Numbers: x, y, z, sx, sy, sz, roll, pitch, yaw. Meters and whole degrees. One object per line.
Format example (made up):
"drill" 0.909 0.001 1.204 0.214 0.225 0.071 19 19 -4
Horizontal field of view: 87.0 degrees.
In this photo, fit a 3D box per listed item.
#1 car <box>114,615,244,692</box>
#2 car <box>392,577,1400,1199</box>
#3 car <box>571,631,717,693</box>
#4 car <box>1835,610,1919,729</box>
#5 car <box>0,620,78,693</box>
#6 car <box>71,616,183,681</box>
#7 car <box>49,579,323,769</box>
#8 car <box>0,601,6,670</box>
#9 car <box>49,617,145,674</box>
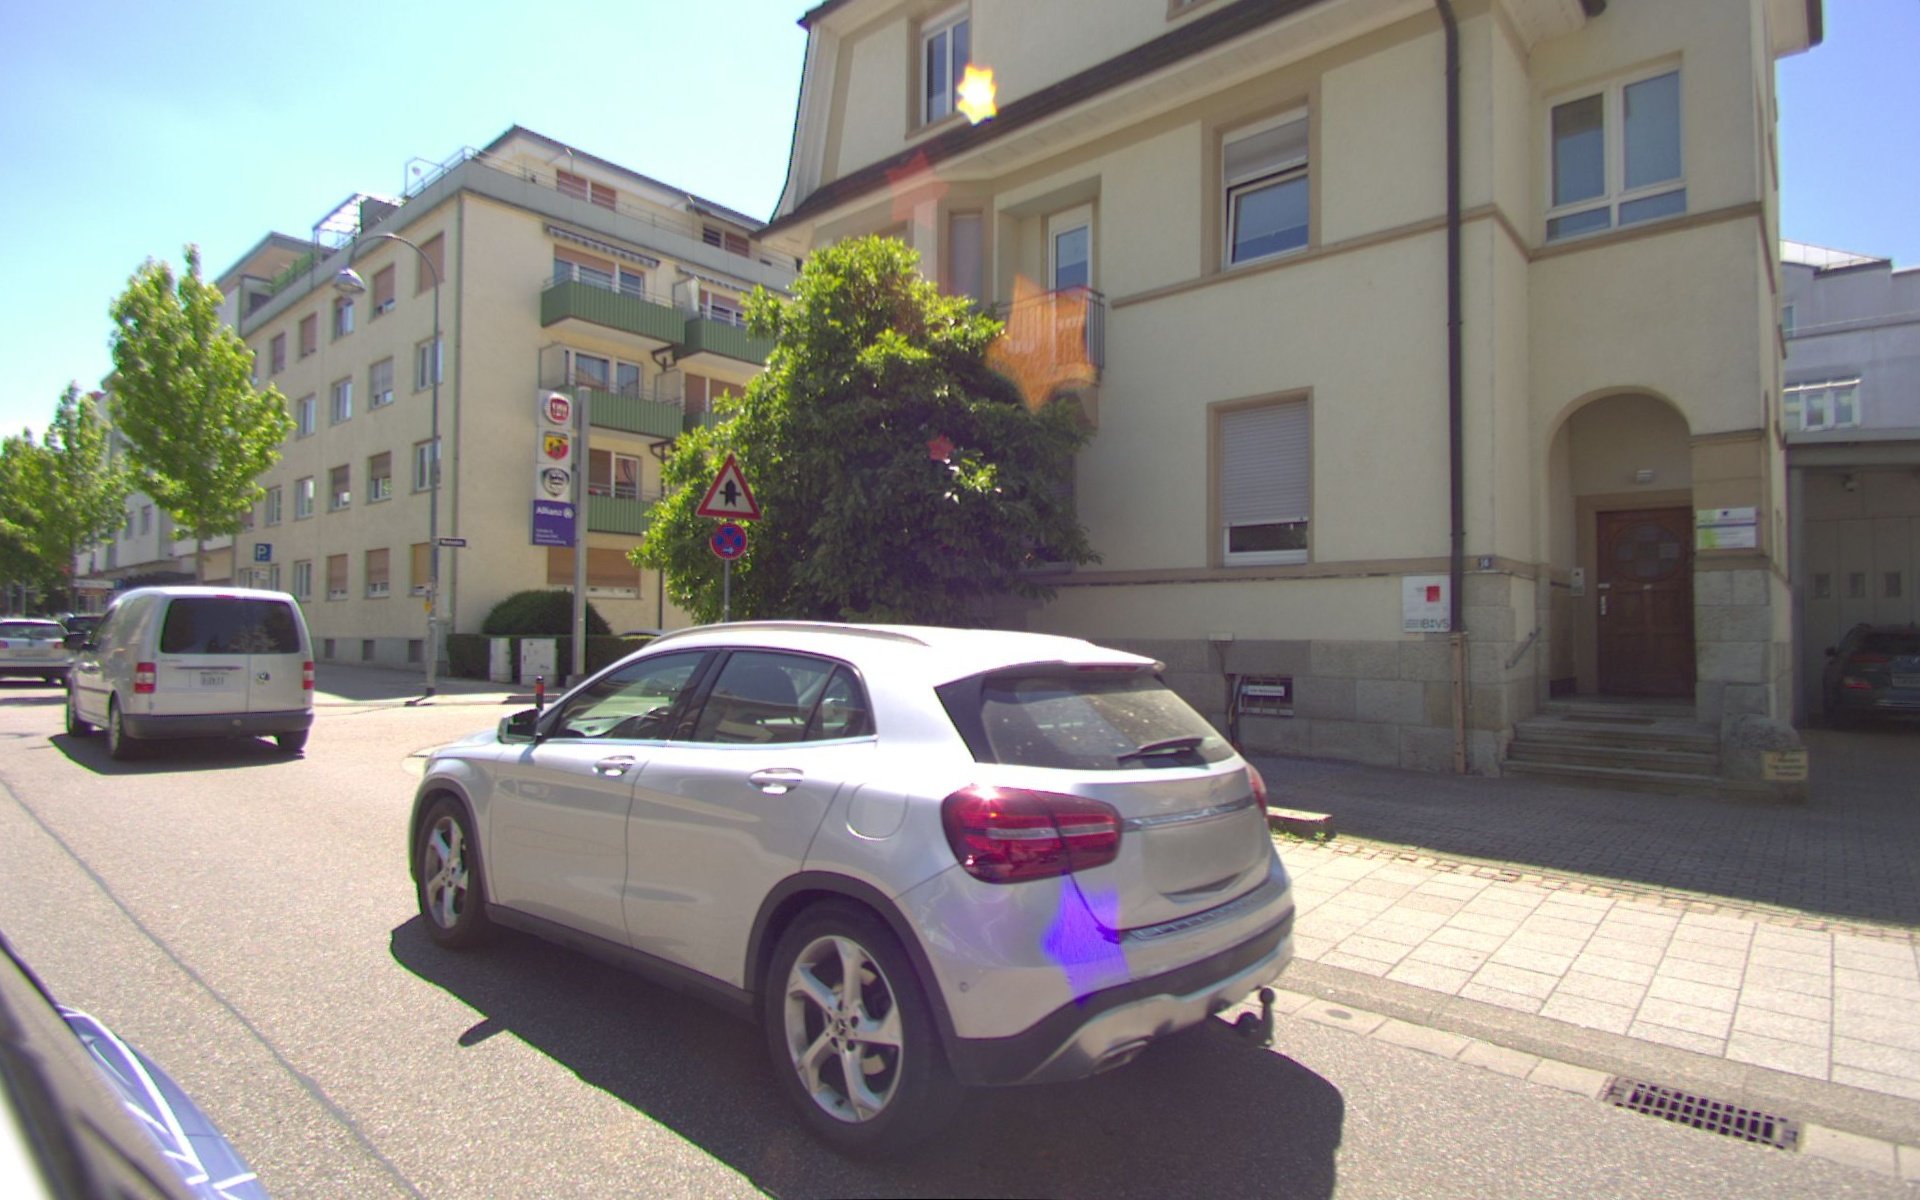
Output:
"car" -18.913 1.221 24.436 4.292 1.683 1.709 -1 -1 41
"car" -0.574 0.775 4.160 4.030 1.522 1.810 -1 -3 41
"car" -8.442 1.601 26.990 3.740 1.519 1.731 -1 -2 34
"car" 14.237 0.983 14.906 1.794 1.592 3.823 -1 -3 44
"car" -21.480 1.227 22.906 4.292 1.520 1.709 -1 -3 41
"car" -23.500 1.305 28.505 4.291 1.683 1.709 -1 -1 41
"car" -9.168 0.793 11.862 4.230 1.840 1.683 -1 -4 41
"car" -32.894 1.129 33.301 4.292 2.183 1.709 -1 -4 41
"car" -27.262 1.376 31.922 4.292 1.683 1.709 -1 -1 41
